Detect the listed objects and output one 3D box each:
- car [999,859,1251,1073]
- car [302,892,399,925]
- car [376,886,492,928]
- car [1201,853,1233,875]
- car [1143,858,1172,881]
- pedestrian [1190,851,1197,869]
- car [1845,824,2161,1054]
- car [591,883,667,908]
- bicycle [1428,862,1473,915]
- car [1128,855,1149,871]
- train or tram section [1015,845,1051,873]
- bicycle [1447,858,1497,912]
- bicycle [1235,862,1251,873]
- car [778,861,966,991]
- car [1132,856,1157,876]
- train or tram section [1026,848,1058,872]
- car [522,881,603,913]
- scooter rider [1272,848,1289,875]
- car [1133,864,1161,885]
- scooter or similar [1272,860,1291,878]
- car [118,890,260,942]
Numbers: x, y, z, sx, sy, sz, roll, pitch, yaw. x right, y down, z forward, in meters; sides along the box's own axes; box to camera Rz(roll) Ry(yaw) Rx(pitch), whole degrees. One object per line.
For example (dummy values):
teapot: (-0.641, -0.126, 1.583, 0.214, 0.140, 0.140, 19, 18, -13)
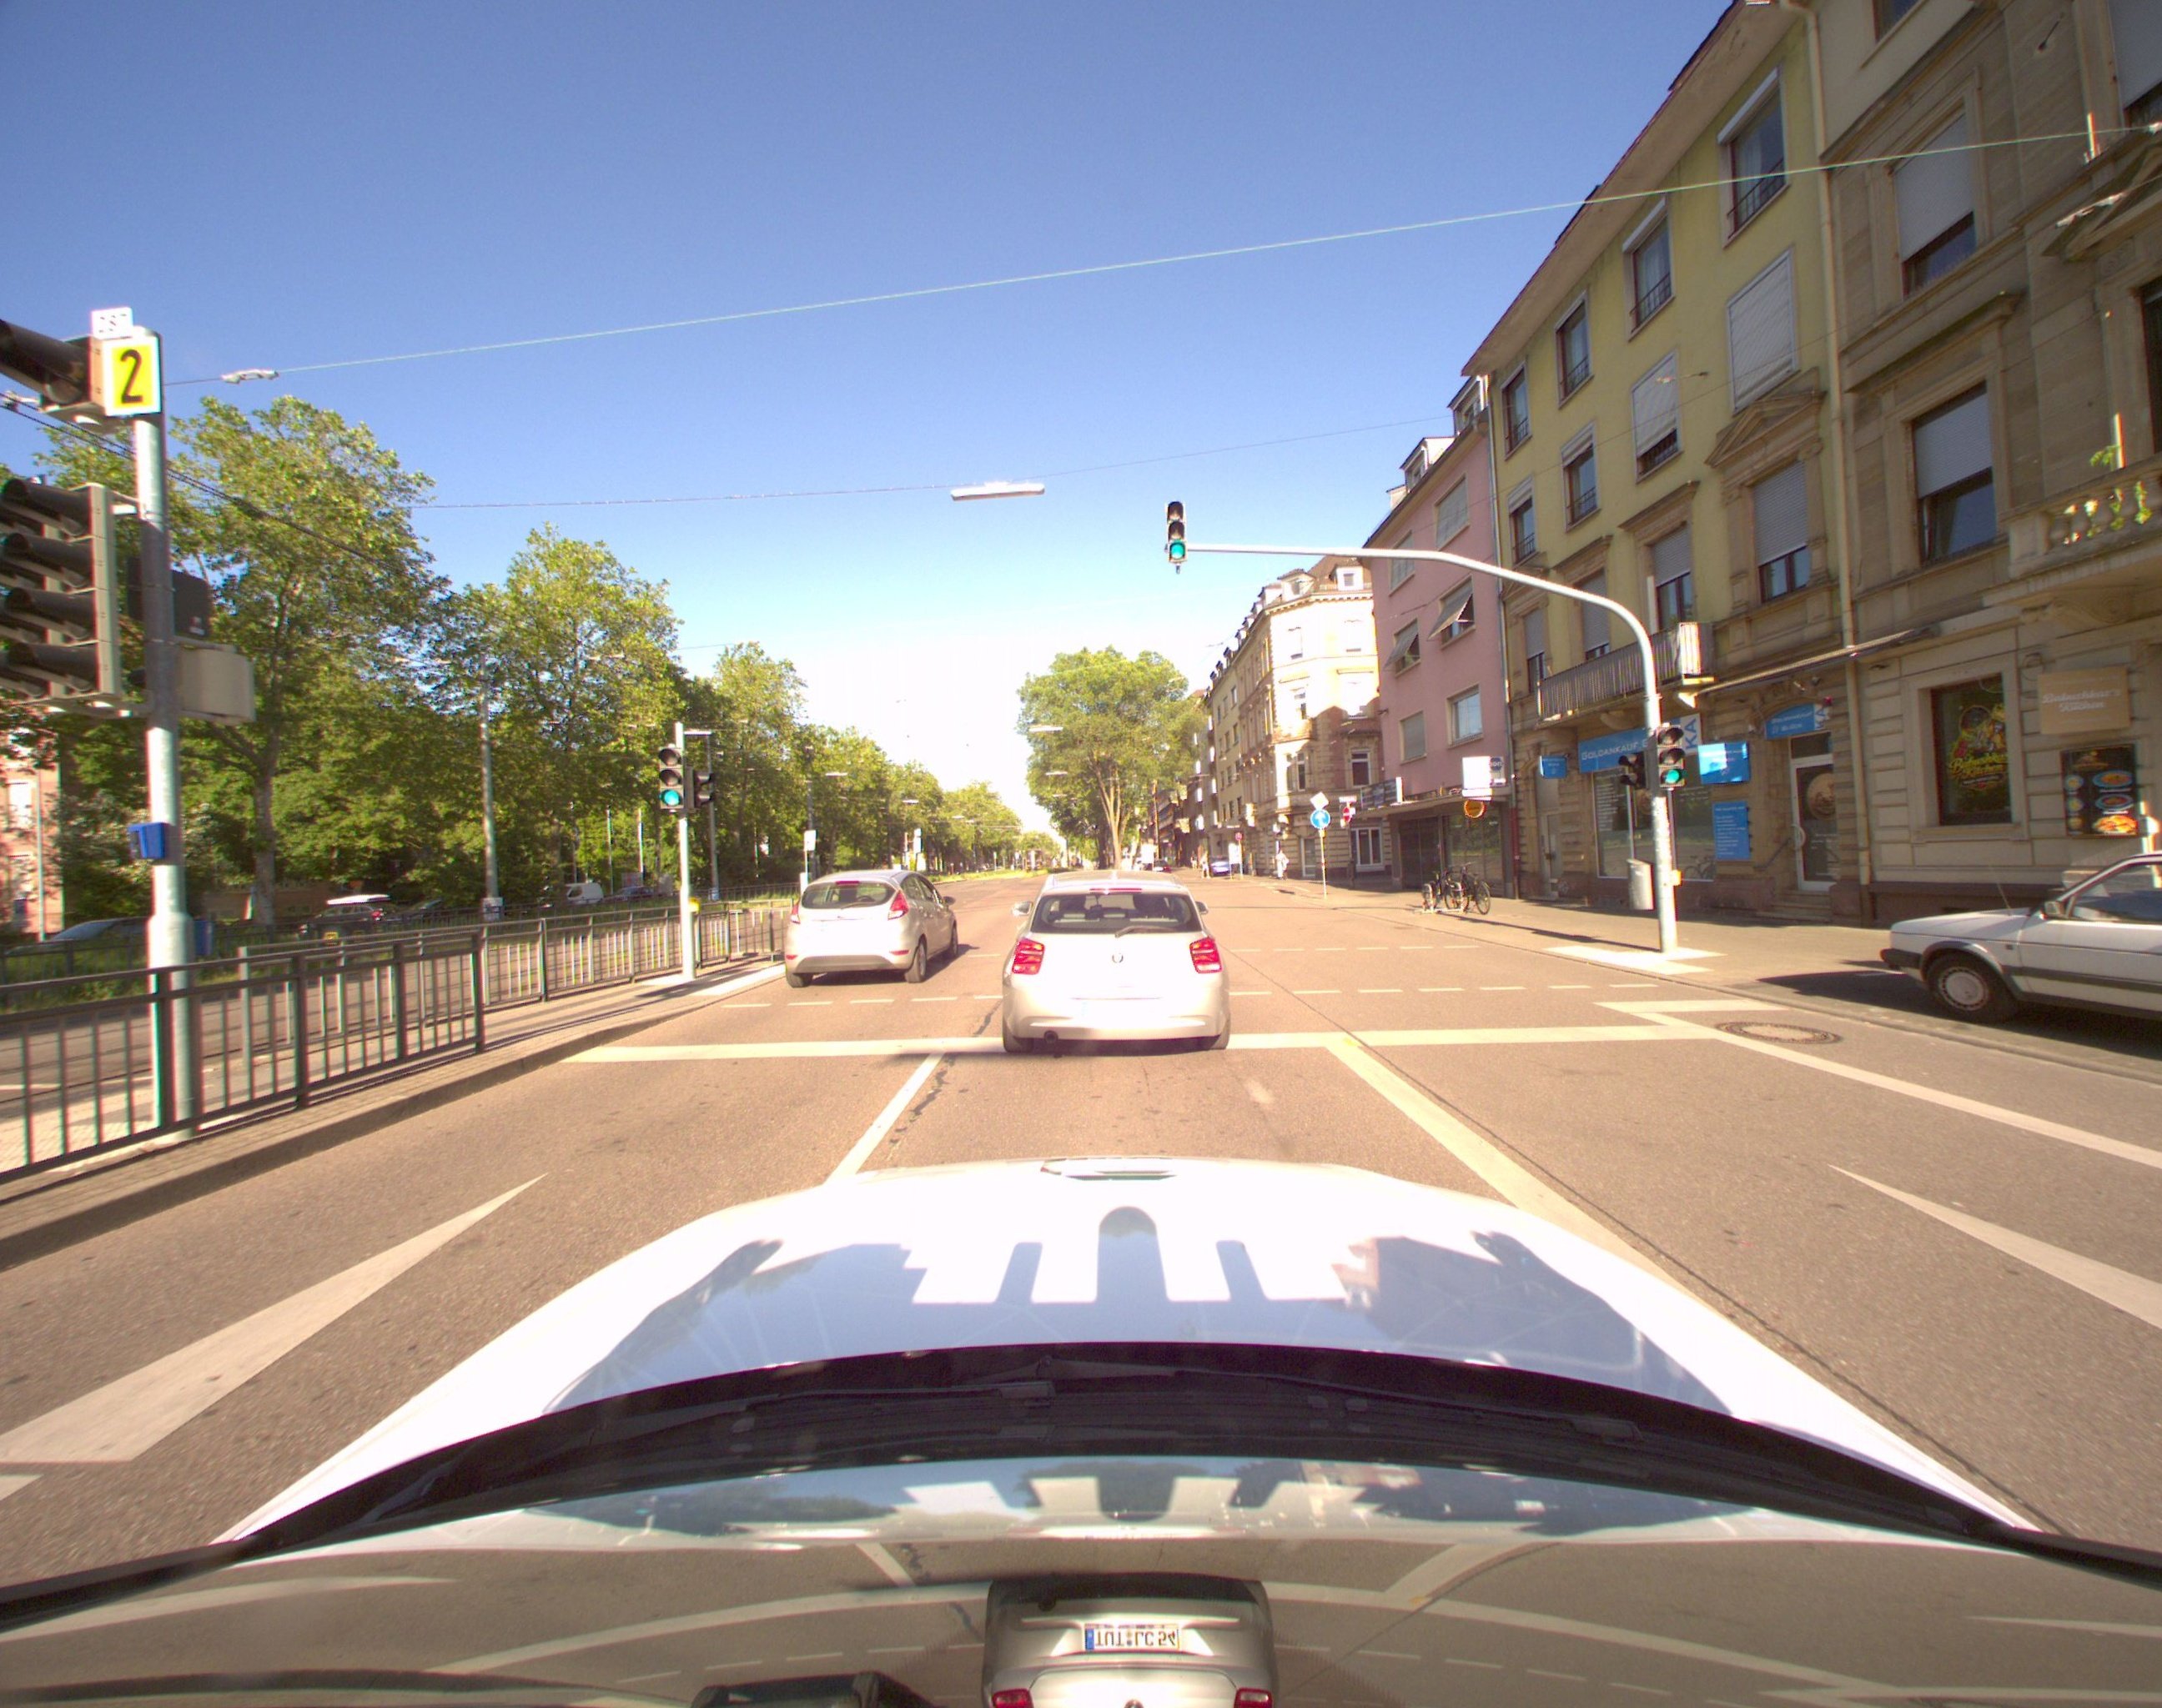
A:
car: (0.357, 0.790, 7.672, 1.733, 1.467, 4.001, -1, 0, 1)
car: (-38.245, 2.852, 42.676, 3.968, 1.494, 1.395, -3, -1, 5)
car: (-27.909, 2.260, 35.305, 1.664, 1.509, 4.144, -3, 0, 0)
car: (9.877, 0.738, 59.367, 1.729, 1.519, 3.637, -1, 0, 1)
car: (5.010, 1.014, 53.512, 1.728, 1.433, 3.681, -1, 0, 3)
pedestrian: (11.670, 0.597, 84.287, 0.503, 1.802, 0.806, -3, -1, 1)
car: (7.868, 0.539, 5.527, 1.557, 1.415, 4.005, -6, -1, 1)
car: (-27.798, 2.502, 50.329, 1.929, 1.349, 4.848, -2, -1, 0)
bicycle: (8.433, 0.763, 18.663, 0.411, 1.141, 1.813, -2, 0, 8)
car: (5.412, 0.840, 77.488, 1.719, 1.507, 3.554, -1, 0, 0)
train or tram section: (-7.220, 0.727, 125.833, 3.954, 3.866, 17.494, -2, 0, 2)
bicycle: (8.928, 0.683, 18.650, 0.446, 1.159, 1.762, -2, 0, 7)
bicycle: (11.827, 0.998, 59.555, 0.752, 0.770, 1.945, -2, 0, 0)
car: (-2.751, 0.870, 11.594, 1.604, 1.467, 3.889, -2, 0, 0)
car: (4.995, 0.975, 64.709, 1.719, 1.507, 3.554, -1, 0, 0)
train or tram section: (-6.674, 1.061, 143.307, 3.990, 3.866, 17.494, -2, 0, 2)
car: (-28.024, 2.301, 44.195, 1.664, 1.509, 4.144, -2, 0, 0)
scooter rider: (11.116, 0.422, 45.360, 0.467, 1.505, 0.805, -2, 0, -19)
car: (4.786, 1.437, 59.078, 1.738, 1.433, 3.554, -1, 0, 0)
scooter or similar: (11.142, 0.820, 45.358, 0.338, 0.988, 1.275, -2, 0, -20)
car: (-40.647, 2.787, 37.278, 1.986, 2.013, 4.001, -2, 0, 1)
